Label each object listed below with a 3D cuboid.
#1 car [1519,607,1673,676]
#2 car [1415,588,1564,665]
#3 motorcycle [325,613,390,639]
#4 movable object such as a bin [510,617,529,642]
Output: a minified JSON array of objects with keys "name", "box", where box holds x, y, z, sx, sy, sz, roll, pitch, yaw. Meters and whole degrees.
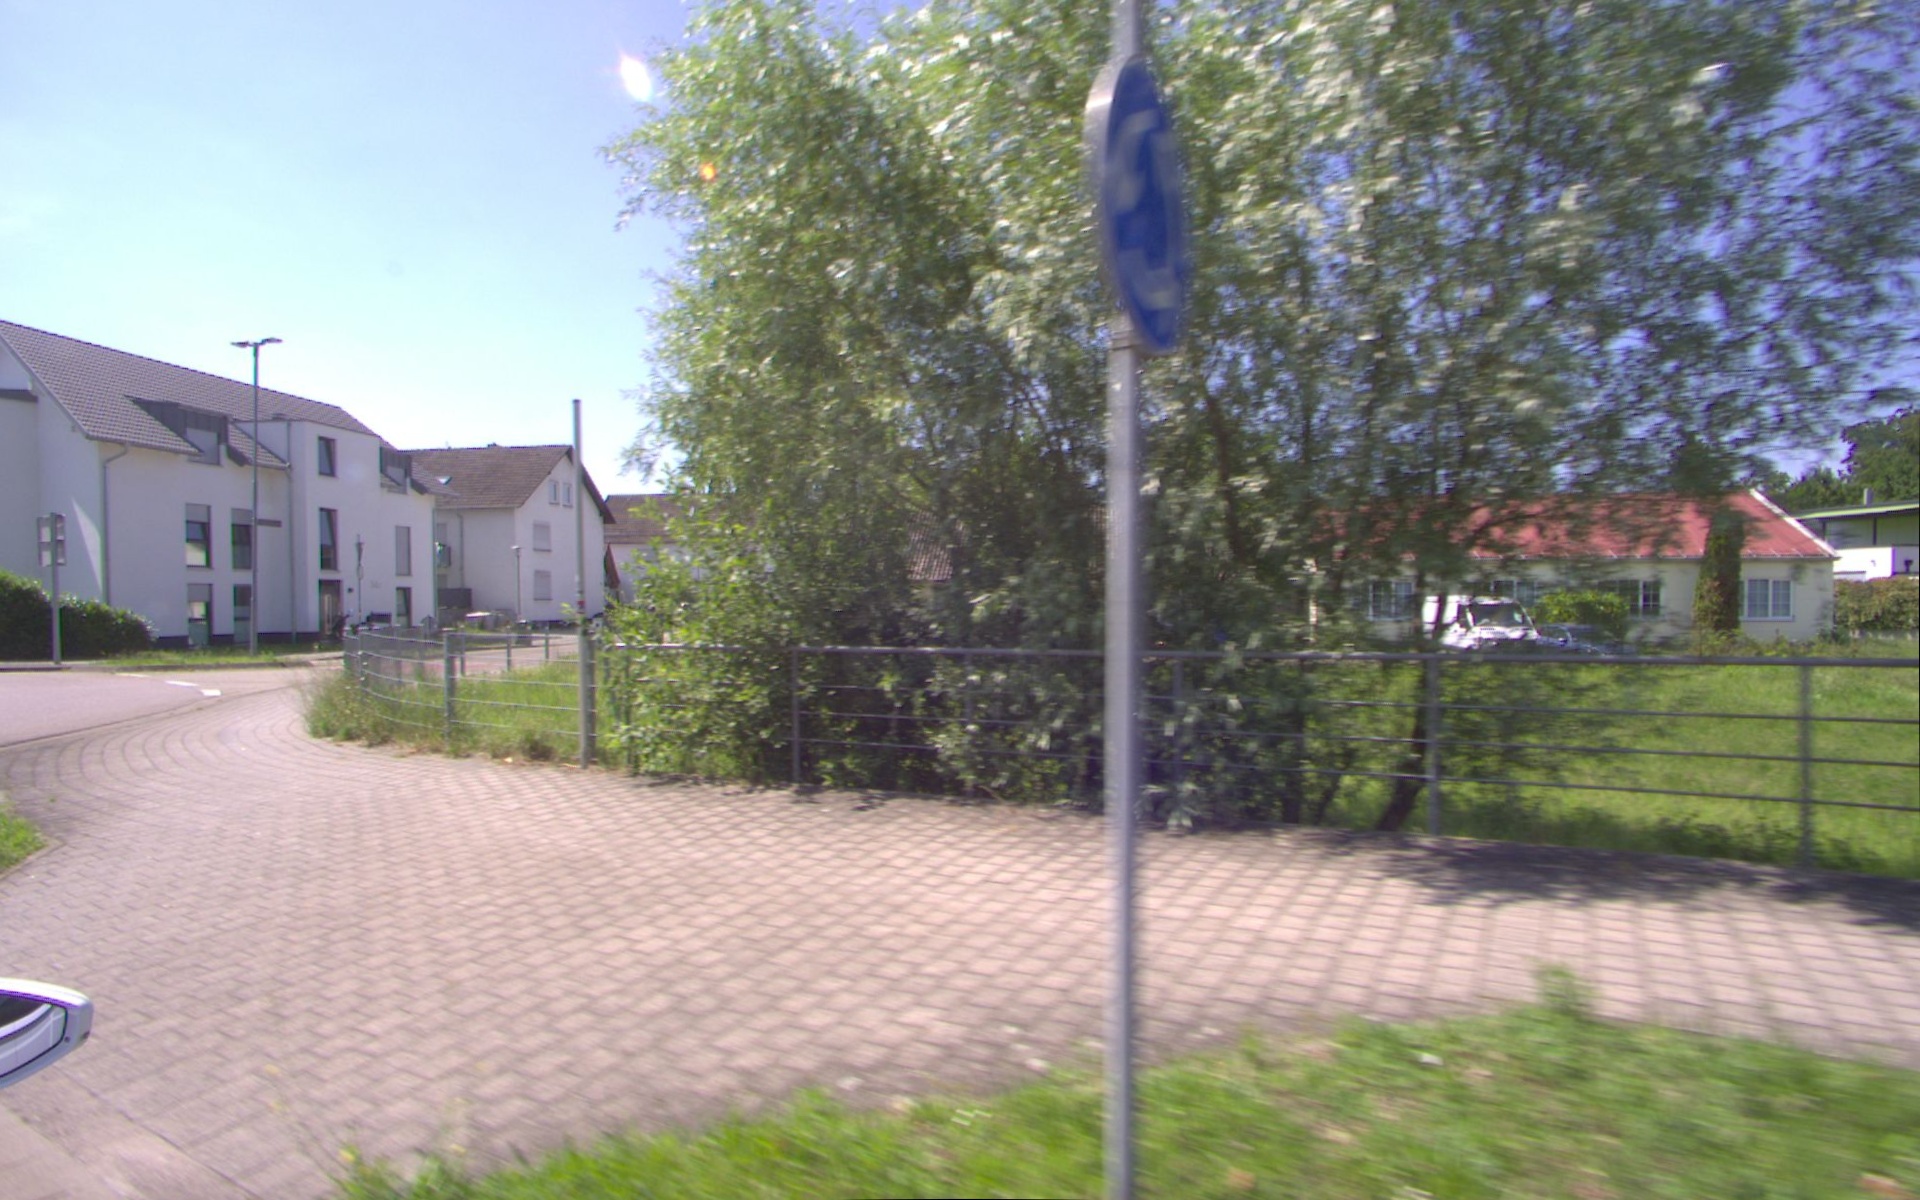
[{"name":"car","box":[20.211,1.307,32.124,2.029,2.039,4.934,0,-1,4]},{"name":"car","box":[16.686,0.849,31.921,2.172,2.229,5.186,0,-1,2]},{"name":"motorcycle","box":[-23.720,1.028,39.449,2.324,1.026,0.672,0,-1,11]},{"name":"movable object such as a bin","box":[-19.634,1.292,44.671,0.635,1.098,0.458,1,1,15]}]
